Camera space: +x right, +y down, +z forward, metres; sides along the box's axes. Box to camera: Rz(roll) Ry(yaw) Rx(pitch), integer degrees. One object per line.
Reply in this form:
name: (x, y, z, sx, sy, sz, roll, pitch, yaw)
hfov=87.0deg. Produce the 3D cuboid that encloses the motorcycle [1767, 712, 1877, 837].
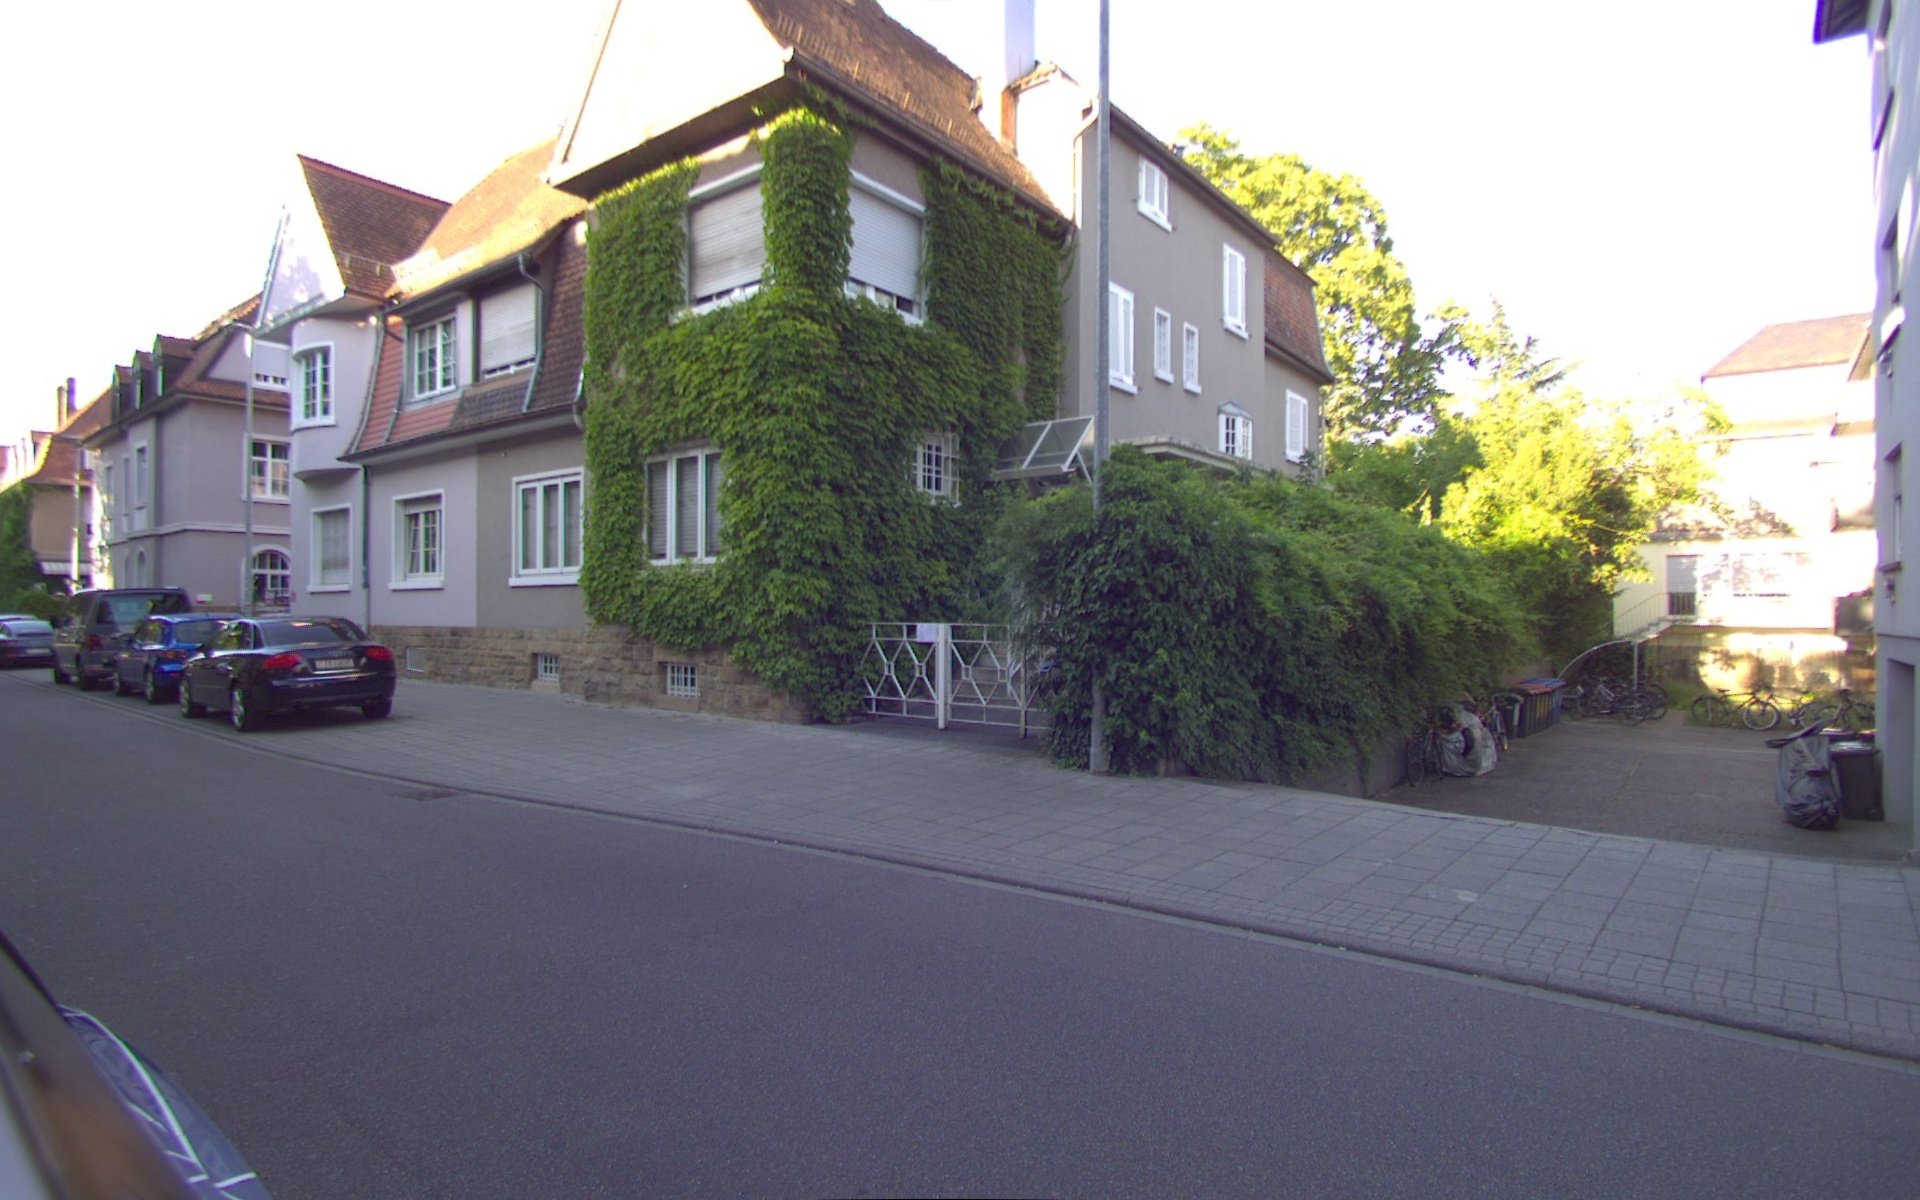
motorcycle: (10.706, 2.119, 12.626, 0.742, 1.305, 1.565, -1, -2, 30)

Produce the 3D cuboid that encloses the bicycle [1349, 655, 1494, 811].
bicycle: (6.823, 1.788, 14.754, 0.971, 1.907, 4.138, -1, -3, 38)

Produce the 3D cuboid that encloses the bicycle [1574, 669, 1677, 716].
bicycle: (18.615, 2.560, 28.336, 2.338, 1.186, 0.685, -1, -4, 42)

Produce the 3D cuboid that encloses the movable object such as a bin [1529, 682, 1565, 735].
movable object such as a bin: (13.177, 2.422, 22.717, 0.611, 1.123, 0.792, -1, -4, 37)

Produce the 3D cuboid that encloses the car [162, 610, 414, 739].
car: (-9.428, 0.916, 14.057, 4.426, 1.457, 1.783, -1, 1, 41)

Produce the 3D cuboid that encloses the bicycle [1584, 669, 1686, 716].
bicycle: (19.199, 2.610, 28.830, 2.338, 1.186, 0.685, -1, -4, 42)

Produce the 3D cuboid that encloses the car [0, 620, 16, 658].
car: (-36.325, 1.454, 37.511, 3.676, 1.372, 1.641, -1, 1, 42)

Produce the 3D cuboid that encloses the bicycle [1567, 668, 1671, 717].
bicycle: (18.057, 2.515, 27.768, 2.338, 1.186, 0.685, -1, -4, 42)

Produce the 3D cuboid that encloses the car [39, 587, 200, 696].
car: (-17.526, 0.795, 21.017, 4.610, 1.990, 1.819, -1, 1, 41)

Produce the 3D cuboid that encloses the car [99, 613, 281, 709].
car: (-13.638, 0.988, 17.847, 4.060, 1.457, 1.745, -1, 1, 41)

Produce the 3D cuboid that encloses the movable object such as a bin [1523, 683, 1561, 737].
movable object such as a bin: (12.701, 2.387, 22.075, 0.611, 1.123, 0.792, -1, -4, 37)

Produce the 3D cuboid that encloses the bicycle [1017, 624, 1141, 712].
bicycle: (1.700, 0.914, 14.187, 0.476, 1.111, 2.172, -1, -1, 45)

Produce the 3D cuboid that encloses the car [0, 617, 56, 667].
car: (-30.174, 1.308, 32.033, 4.061, 1.478, 1.907, -1, 1, 42)

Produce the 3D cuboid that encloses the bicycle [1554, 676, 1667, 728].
bicycle: (16.239, 2.531, 25.303, 2.294, 1.142, 0.685, -1, -4, 42)

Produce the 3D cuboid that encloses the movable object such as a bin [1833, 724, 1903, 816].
movable object such as a bin: (12.297, 2.280, 13.728, 0.611, 1.123, 0.792, -1, -4, 37)

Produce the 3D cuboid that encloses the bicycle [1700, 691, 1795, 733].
bicycle: (18.892, 2.673, 24.301, 1.754, 0.886, 0.558, -1, -4, 42)

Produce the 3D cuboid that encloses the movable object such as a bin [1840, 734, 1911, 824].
movable object such as a bin: (11.715, 2.275, 12.967, 0.611, 1.045, 0.532, -1, -4, 37)

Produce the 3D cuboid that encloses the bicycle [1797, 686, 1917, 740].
bicycle: (20.369, 2.547, 23.026, 2.005, 1.080, 0.558, -1, -4, 42)

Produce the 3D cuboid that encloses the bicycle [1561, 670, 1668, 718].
bicycle: (17.506, 2.486, 27.115, 2.338, 1.142, 0.685, -1, -4, 42)

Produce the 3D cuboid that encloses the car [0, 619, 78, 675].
car: (-26.160, 1.276, 28.299, 4.063, 1.394, 1.906, -1, 1, 44)

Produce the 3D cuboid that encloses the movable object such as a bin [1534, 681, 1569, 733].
movable object such as a bin: (13.647, 2.456, 23.348, 0.611, 1.123, 0.792, -1, -4, 37)
